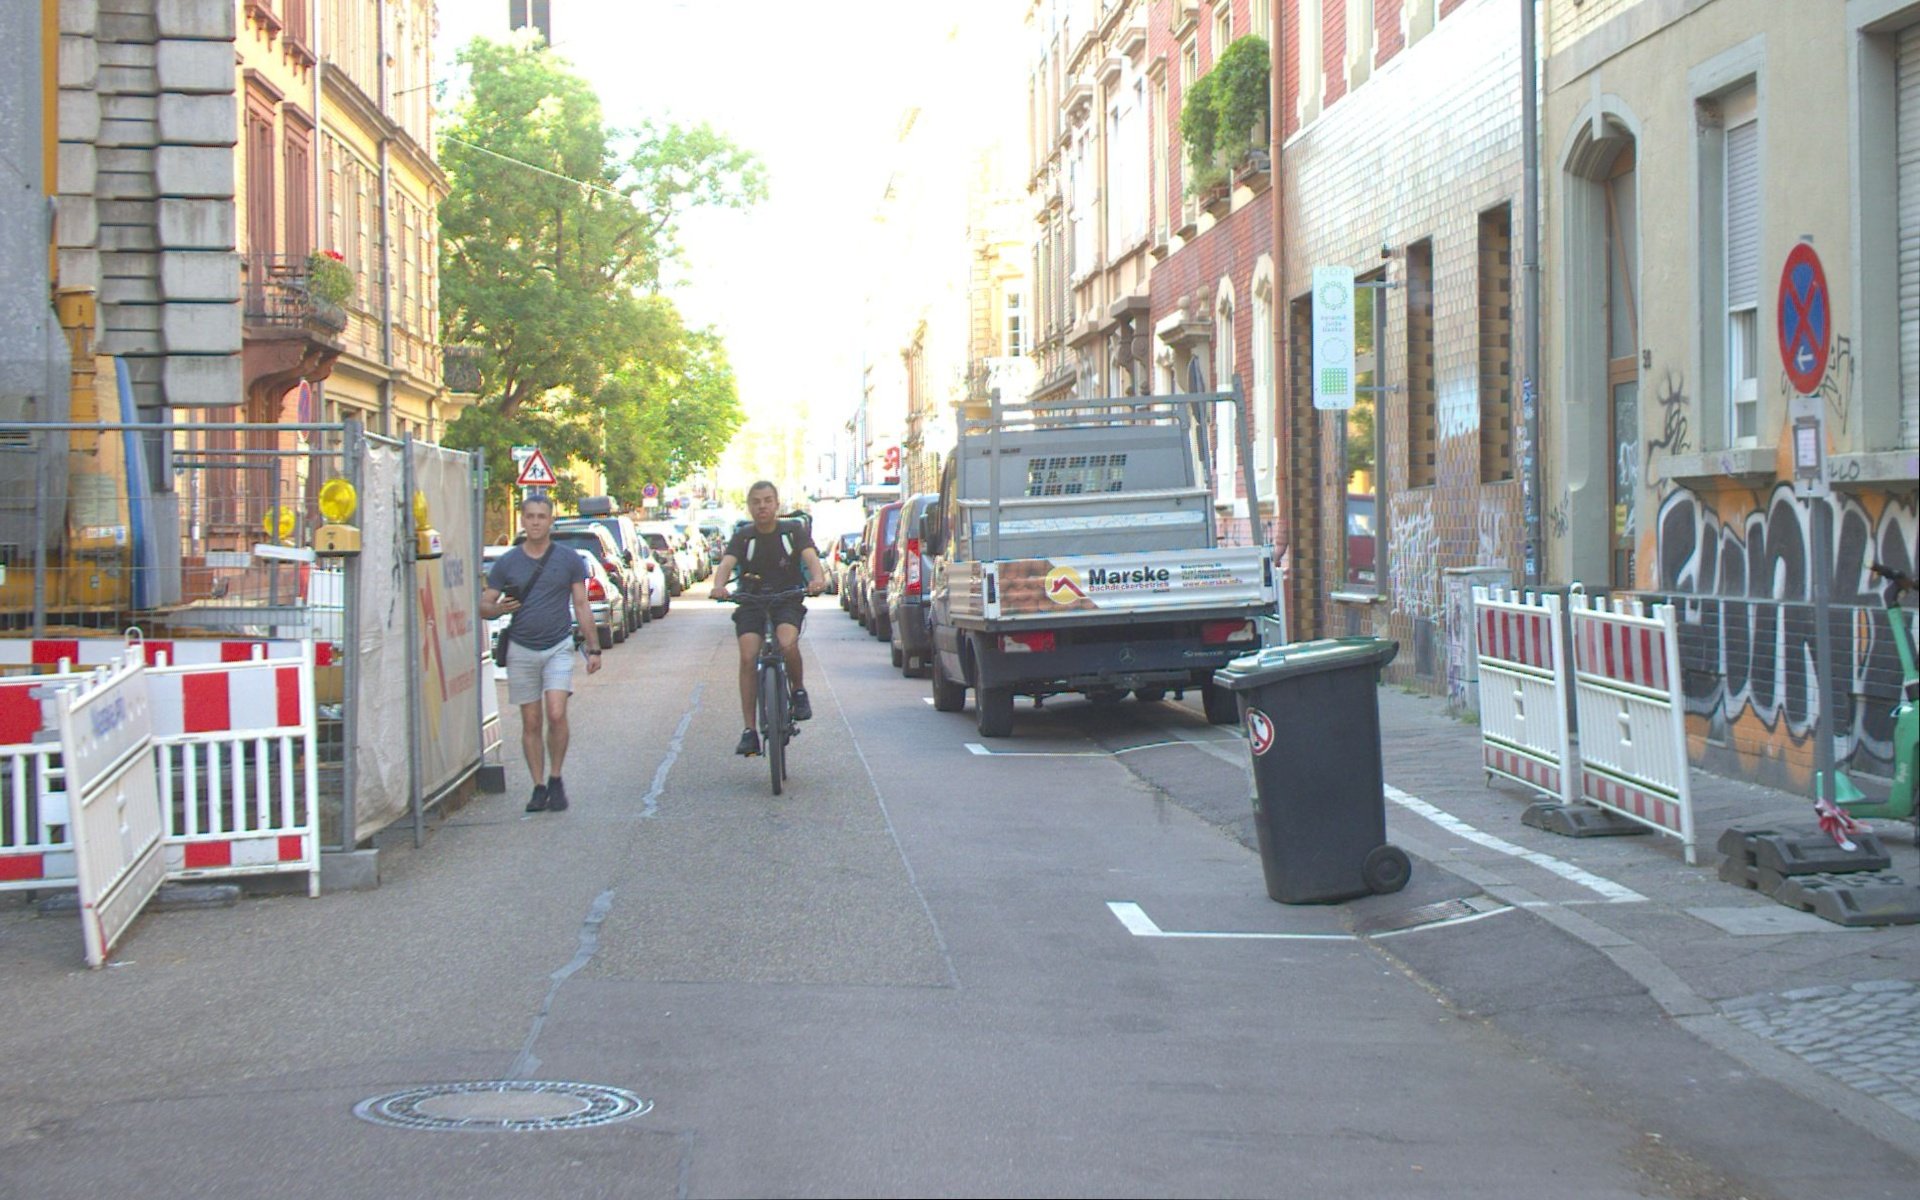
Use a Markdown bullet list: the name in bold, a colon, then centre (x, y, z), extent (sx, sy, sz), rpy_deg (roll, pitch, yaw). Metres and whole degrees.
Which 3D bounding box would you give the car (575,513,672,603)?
- **car**: centre (-6.115, -0.768, 62.659), extent (1.674, 1.565, 3.870), rpy_deg (-1, 1, -5)

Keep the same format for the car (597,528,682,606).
- **car**: centre (-7.964, -0.844, 85.656), extent (1.993, 1.842, 4.001), rpy_deg (-1, 1, -4)

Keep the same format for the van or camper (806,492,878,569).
- **van or camper**: centre (-3.995, -2.353, 116.016), extent (1.993, 2.499, 4.203), rpy_deg (-2, 1, -7)

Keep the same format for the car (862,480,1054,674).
- **car**: centre (-0.072, -0.271, 37.067), extent (1.674, 1.956, 4.110), rpy_deg (-1, 1, -5)

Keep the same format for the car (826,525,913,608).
- **car**: centre (-2.317, -0.875, 87.446), extent (1.993, 2.007, 4.001), rpy_deg (-1, 1, -4)

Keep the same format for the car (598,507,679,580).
- **car**: centre (-8.472, -1.496, 90.818), extent (1.993, 1.842, 4.001), rpy_deg (-2, 1, -4)

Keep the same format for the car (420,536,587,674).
- **car**: centre (-5.068, 0.023, 38.505), extent (1.674, 1.440, 3.870), rpy_deg (-1, 1, -5)

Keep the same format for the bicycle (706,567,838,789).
- **bicycle**: centre (-1.099, 0.427, 20.214), extent (0.724, 1.182, 2.043), rpy_deg (0, 2, -3)

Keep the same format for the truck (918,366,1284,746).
- **truck**: centre (0.960, -0.364, 26.601), extent (2.189, 2.598, 5.235), rpy_deg (-2, 1, -4)

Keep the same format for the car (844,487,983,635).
- **car**: centre (-0.703, -0.576, 49.545), extent (1.674, 2.024, 3.870), rpy_deg (-1, 1, -5)

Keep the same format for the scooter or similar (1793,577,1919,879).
- **scooter or similar**: centre (3.977, 0.508, 14.552), extent (0.418, 1.174, 1.495), rpy_deg (-3, 1, -3)

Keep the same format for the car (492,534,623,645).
- **car**: centre (-5.503, -0.170, 47.310), extent (1.674, 1.440, 3.870), rpy_deg (-1, 1, -5)

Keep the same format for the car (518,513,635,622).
- **car**: centre (-5.777, -0.512, 52.101), extent (1.674, 1.565, 3.870), rpy_deg (-1, 1, -5)

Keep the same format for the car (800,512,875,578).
- **car**: centre (-3.599, -1.628, 100.429), extent (1.993, 1.842, 4.001), rpy_deg (-2, 1, -4)

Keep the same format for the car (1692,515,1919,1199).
- **car**: centre (2.284, 0.630, 4.640), extent (1.597, 1.555, 3.814), rpy_deg (-4, 1, -1)

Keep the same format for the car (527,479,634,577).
- **car**: centre (-6.348, -1.199, 57.776), extent (1.674, 1.565, 3.870), rpy_deg (-1, 1, -5)

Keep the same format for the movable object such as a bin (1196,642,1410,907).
- **movable object such as a bin**: centre (1.425, 0.715, 14.365), extent (0.795, 1.052, 0.660), rpy_deg (-1, 1, -3)

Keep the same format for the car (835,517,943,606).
- **car**: centre (-1.328, -0.714, 63.023), extent (1.674, 1.565, 3.870), rpy_deg (-1, 1, -5)

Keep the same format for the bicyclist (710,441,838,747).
- **bicyclist**: centre (-1.093, -0.046, 20.177), extent (0.730, 1.755, 0.835), rpy_deg (0, 2, -3)

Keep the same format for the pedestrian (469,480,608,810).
- **pedestrian**: centre (-2.254, 0.230, 18.453), extent (0.657, 1.727, 0.720), rpy_deg (-1, 1, -3)
